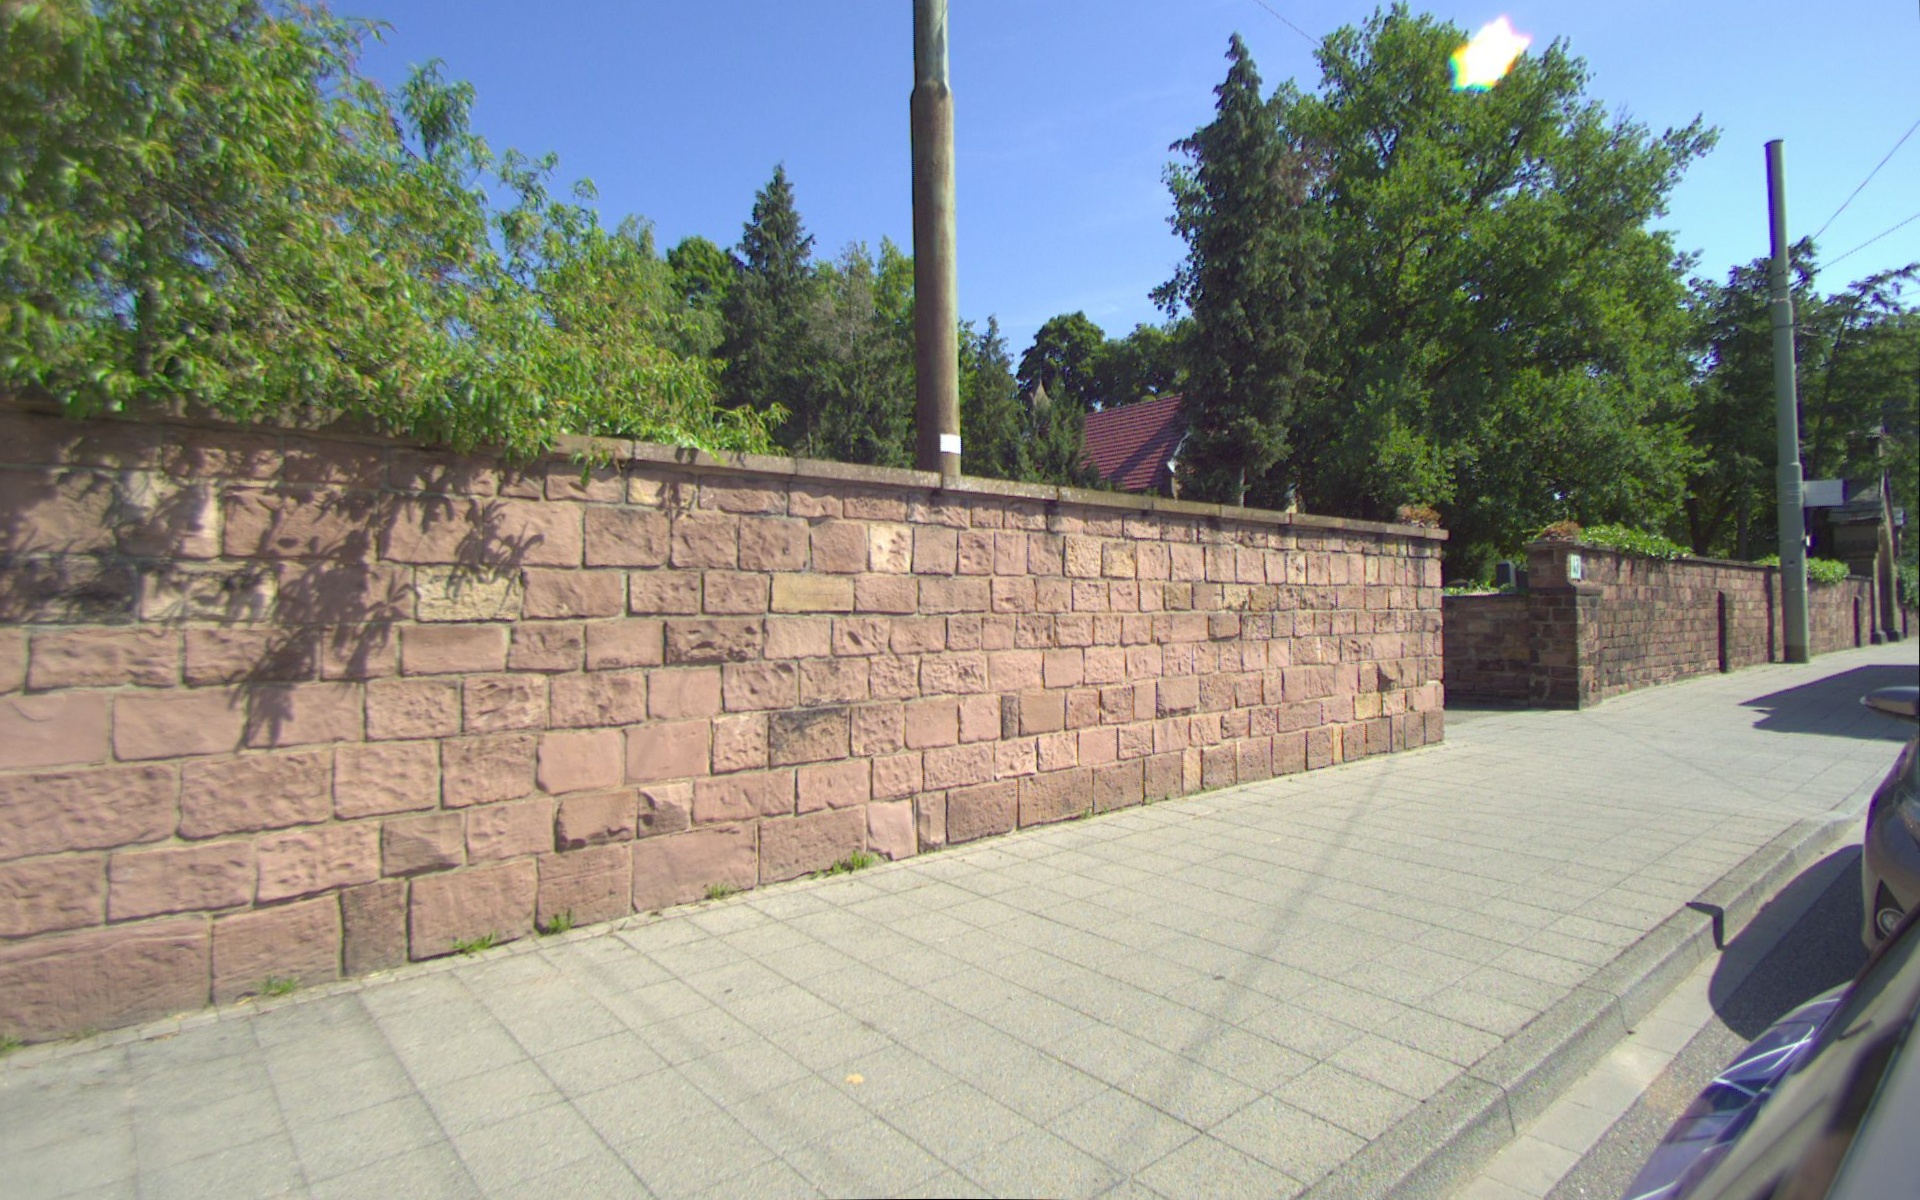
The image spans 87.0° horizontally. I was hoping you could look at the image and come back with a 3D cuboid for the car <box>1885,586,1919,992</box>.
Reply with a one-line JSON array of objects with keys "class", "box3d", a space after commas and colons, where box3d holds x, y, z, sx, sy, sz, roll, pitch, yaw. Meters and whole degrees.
[{"class": "car", "box3d": [5.264, 0.649, 4.224, 3.930, 1.400, 1.653, 0, 1, -41]}]
